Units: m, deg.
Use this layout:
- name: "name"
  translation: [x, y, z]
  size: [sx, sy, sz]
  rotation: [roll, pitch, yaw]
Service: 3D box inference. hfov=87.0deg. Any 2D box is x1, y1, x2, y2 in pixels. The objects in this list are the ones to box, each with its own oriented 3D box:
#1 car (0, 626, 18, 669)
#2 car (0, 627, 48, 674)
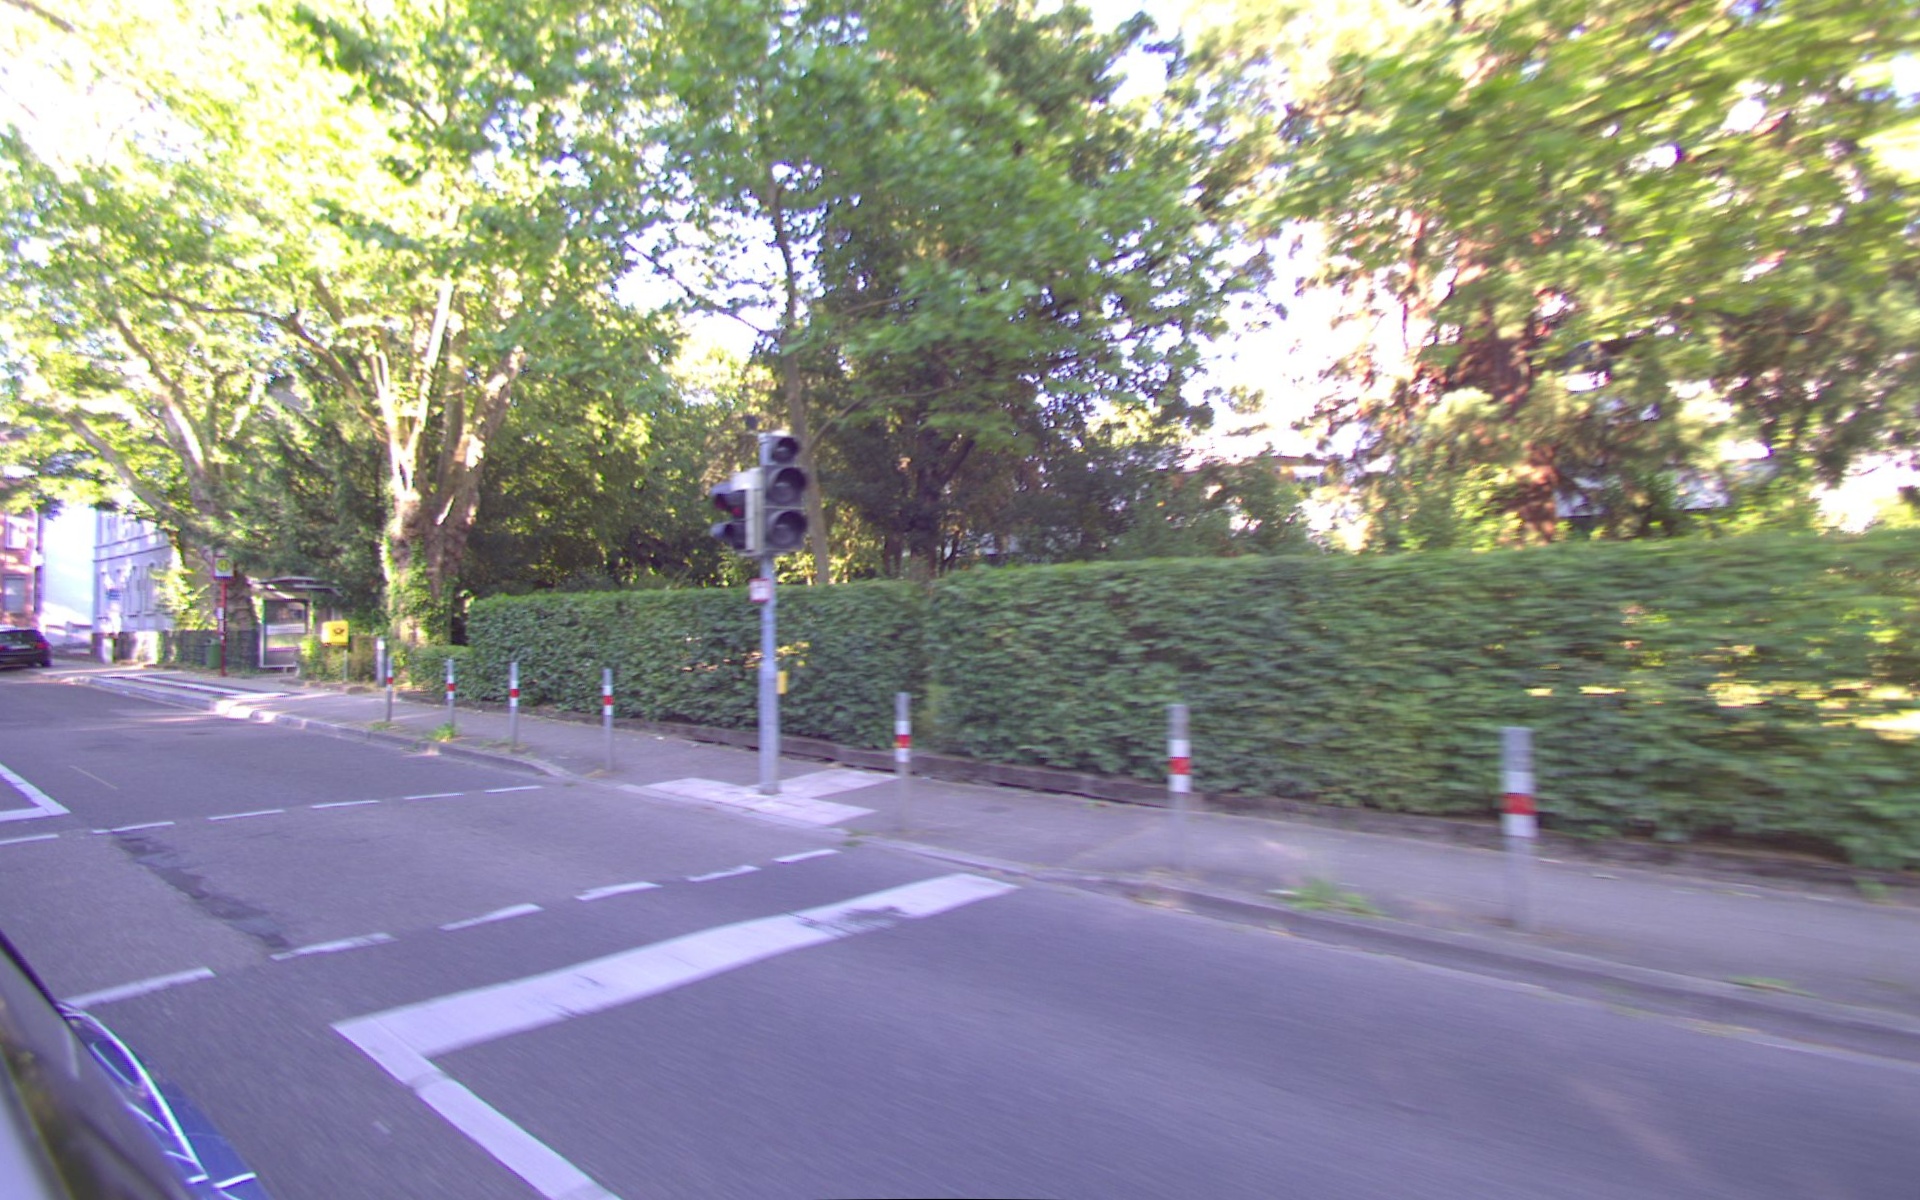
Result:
- name: "car"
  translation: [-36.348, 1.761, 37.532]
  size: [3.319, 1.558, 1.607]
  rotation: [-2, -2, 39]
- name: "car"
  translation: [-32.414, 1.714, 34.303]
  size: [3.612, 1.445, 1.669]
  rotation: [-2, 1, 39]
